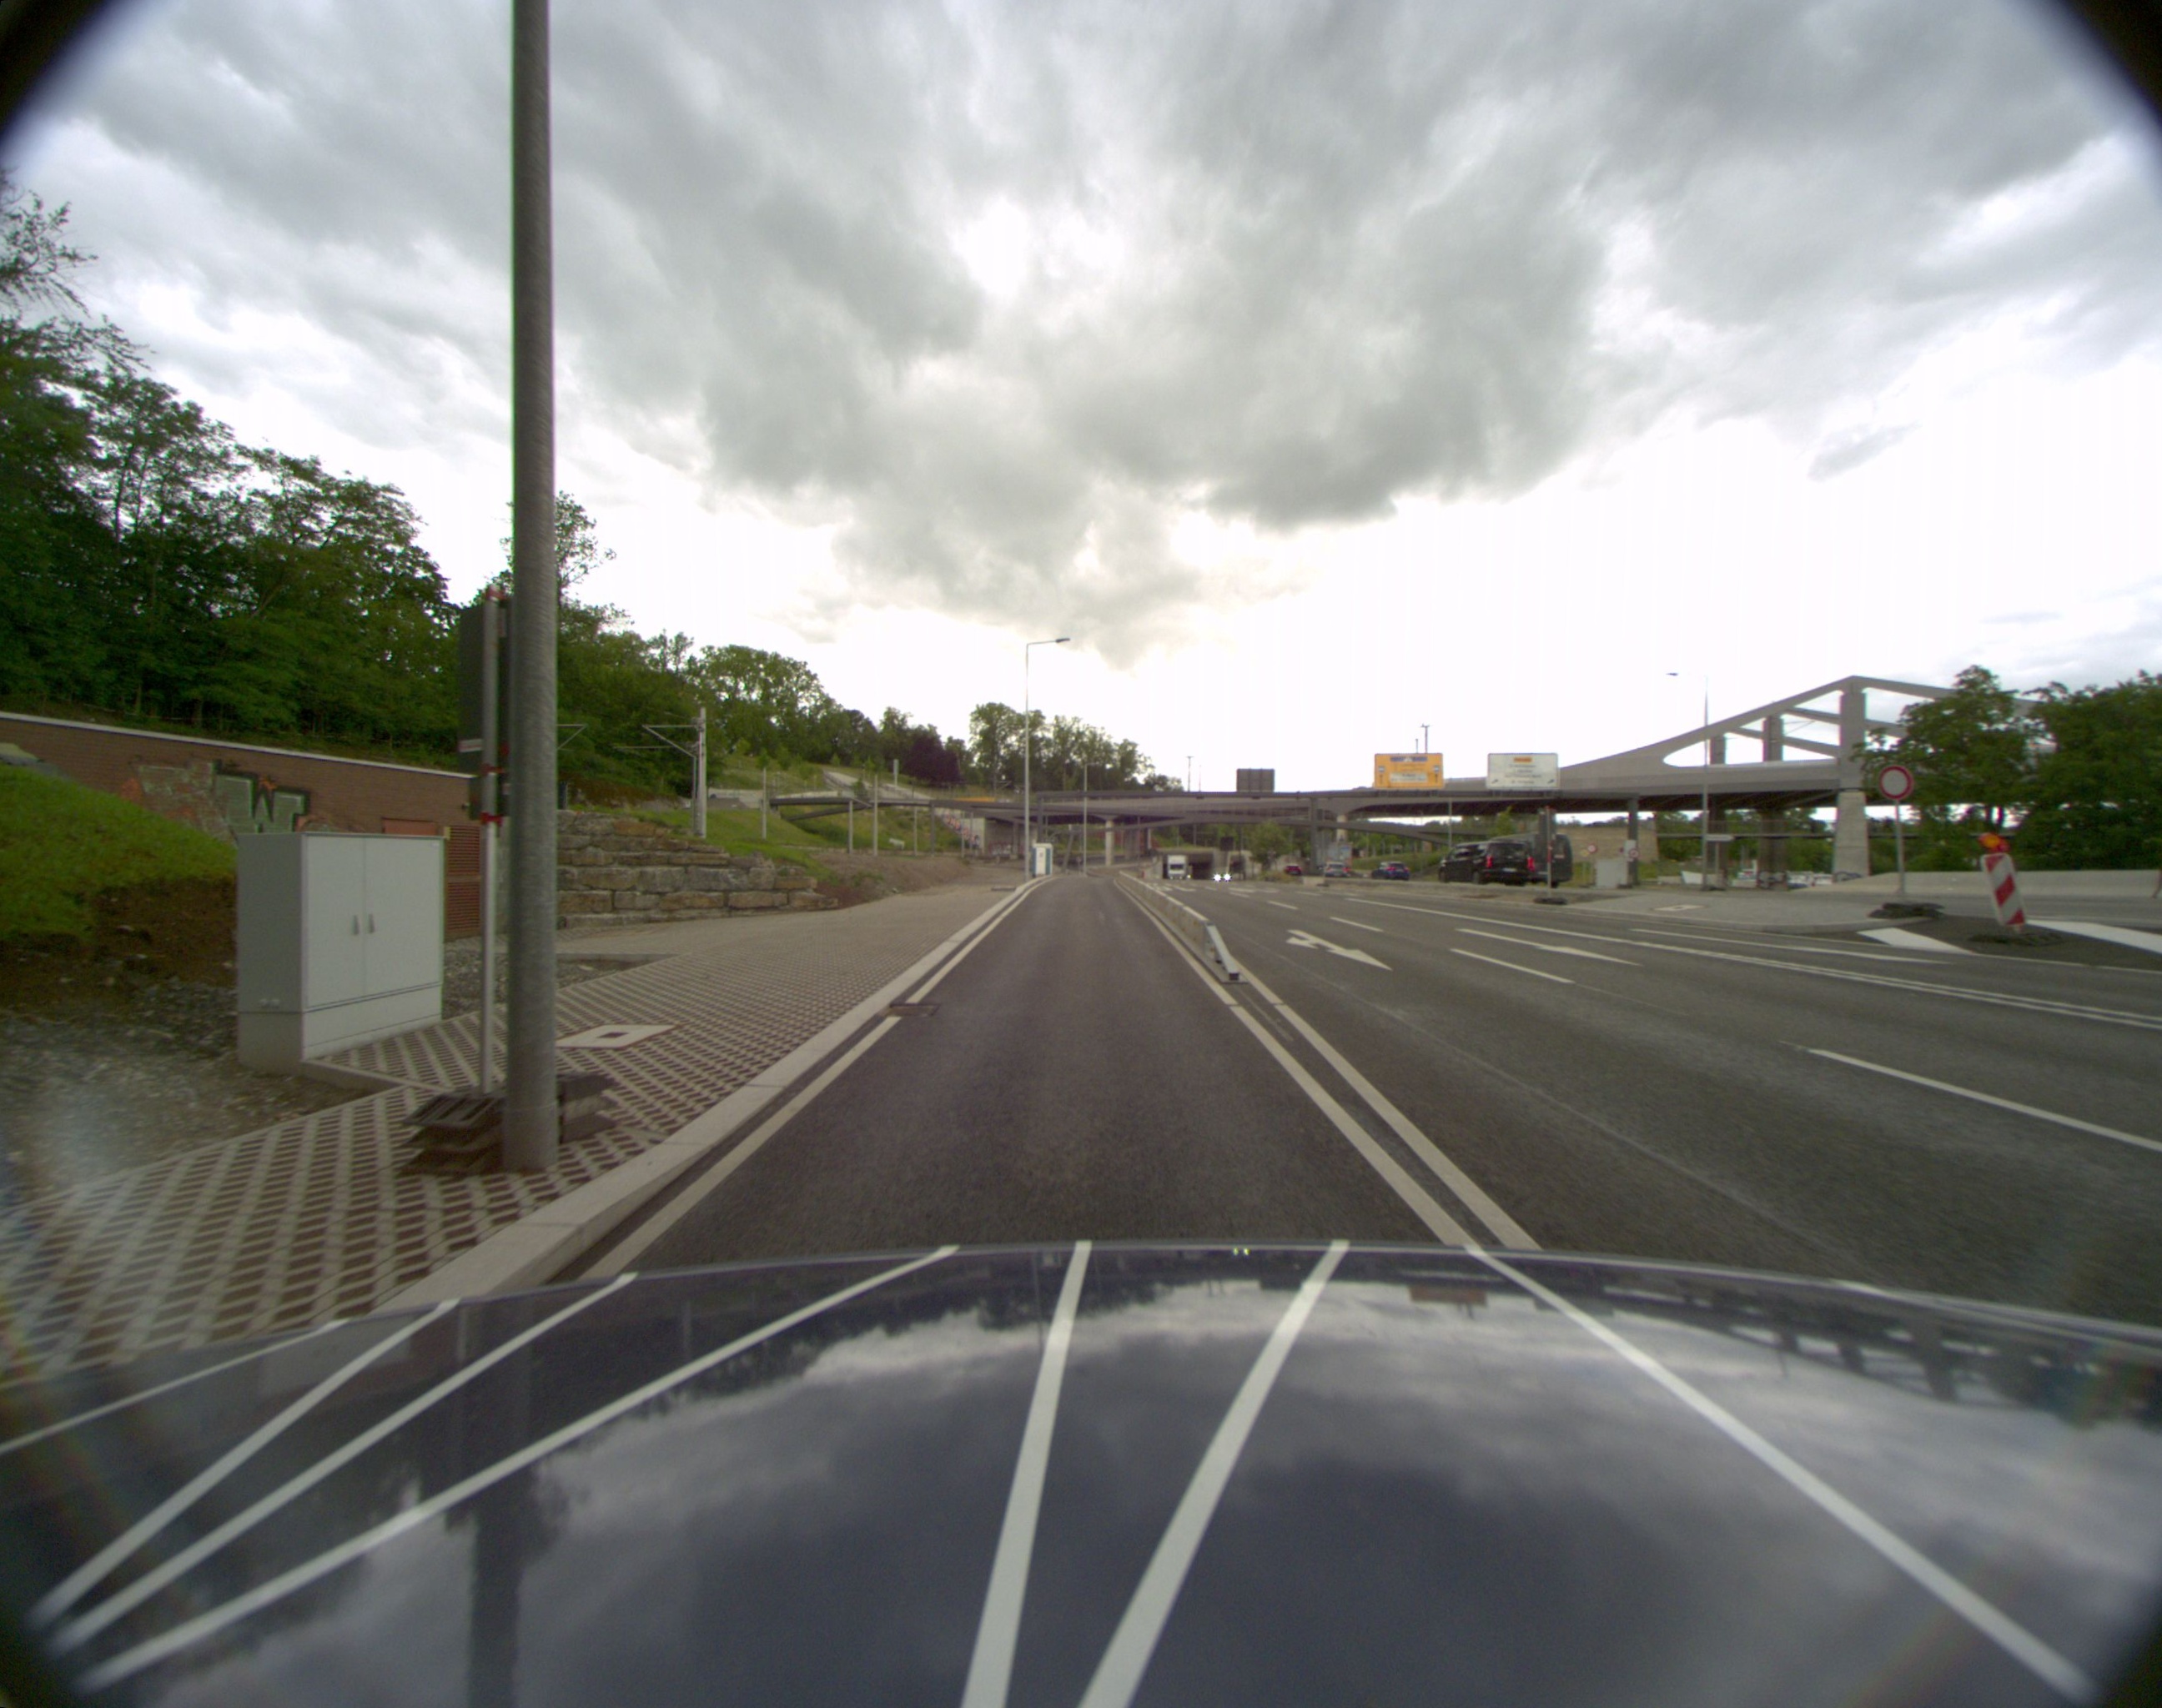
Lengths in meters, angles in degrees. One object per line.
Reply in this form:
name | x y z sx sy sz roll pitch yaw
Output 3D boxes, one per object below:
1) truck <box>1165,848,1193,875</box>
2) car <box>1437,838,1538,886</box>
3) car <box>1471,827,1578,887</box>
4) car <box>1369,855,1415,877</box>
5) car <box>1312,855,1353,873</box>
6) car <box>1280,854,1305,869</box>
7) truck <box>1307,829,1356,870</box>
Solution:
truck | 12.046 0.945 93.638 2.747 3.108 8.122 -1 -1 3
car | 18.189 0.284 34.323 1.967 2.002 5.190 0 1 3
car | 22.290 0.165 38.553 2.220 2.760 6.147 -1 0 5
car | 24.905 0.951 61.076 1.890 1.674 4.489 -1 -1 1
car | 20.098 0.781 60.862 1.890 1.323 4.257 1 -1 1
car | 24.334 0.904 87.695 1.710 1.611 4.453 3 -1 2
truck | 27.598 -0.301 84.326 2.904 4.037 14.002 1 -1 9
